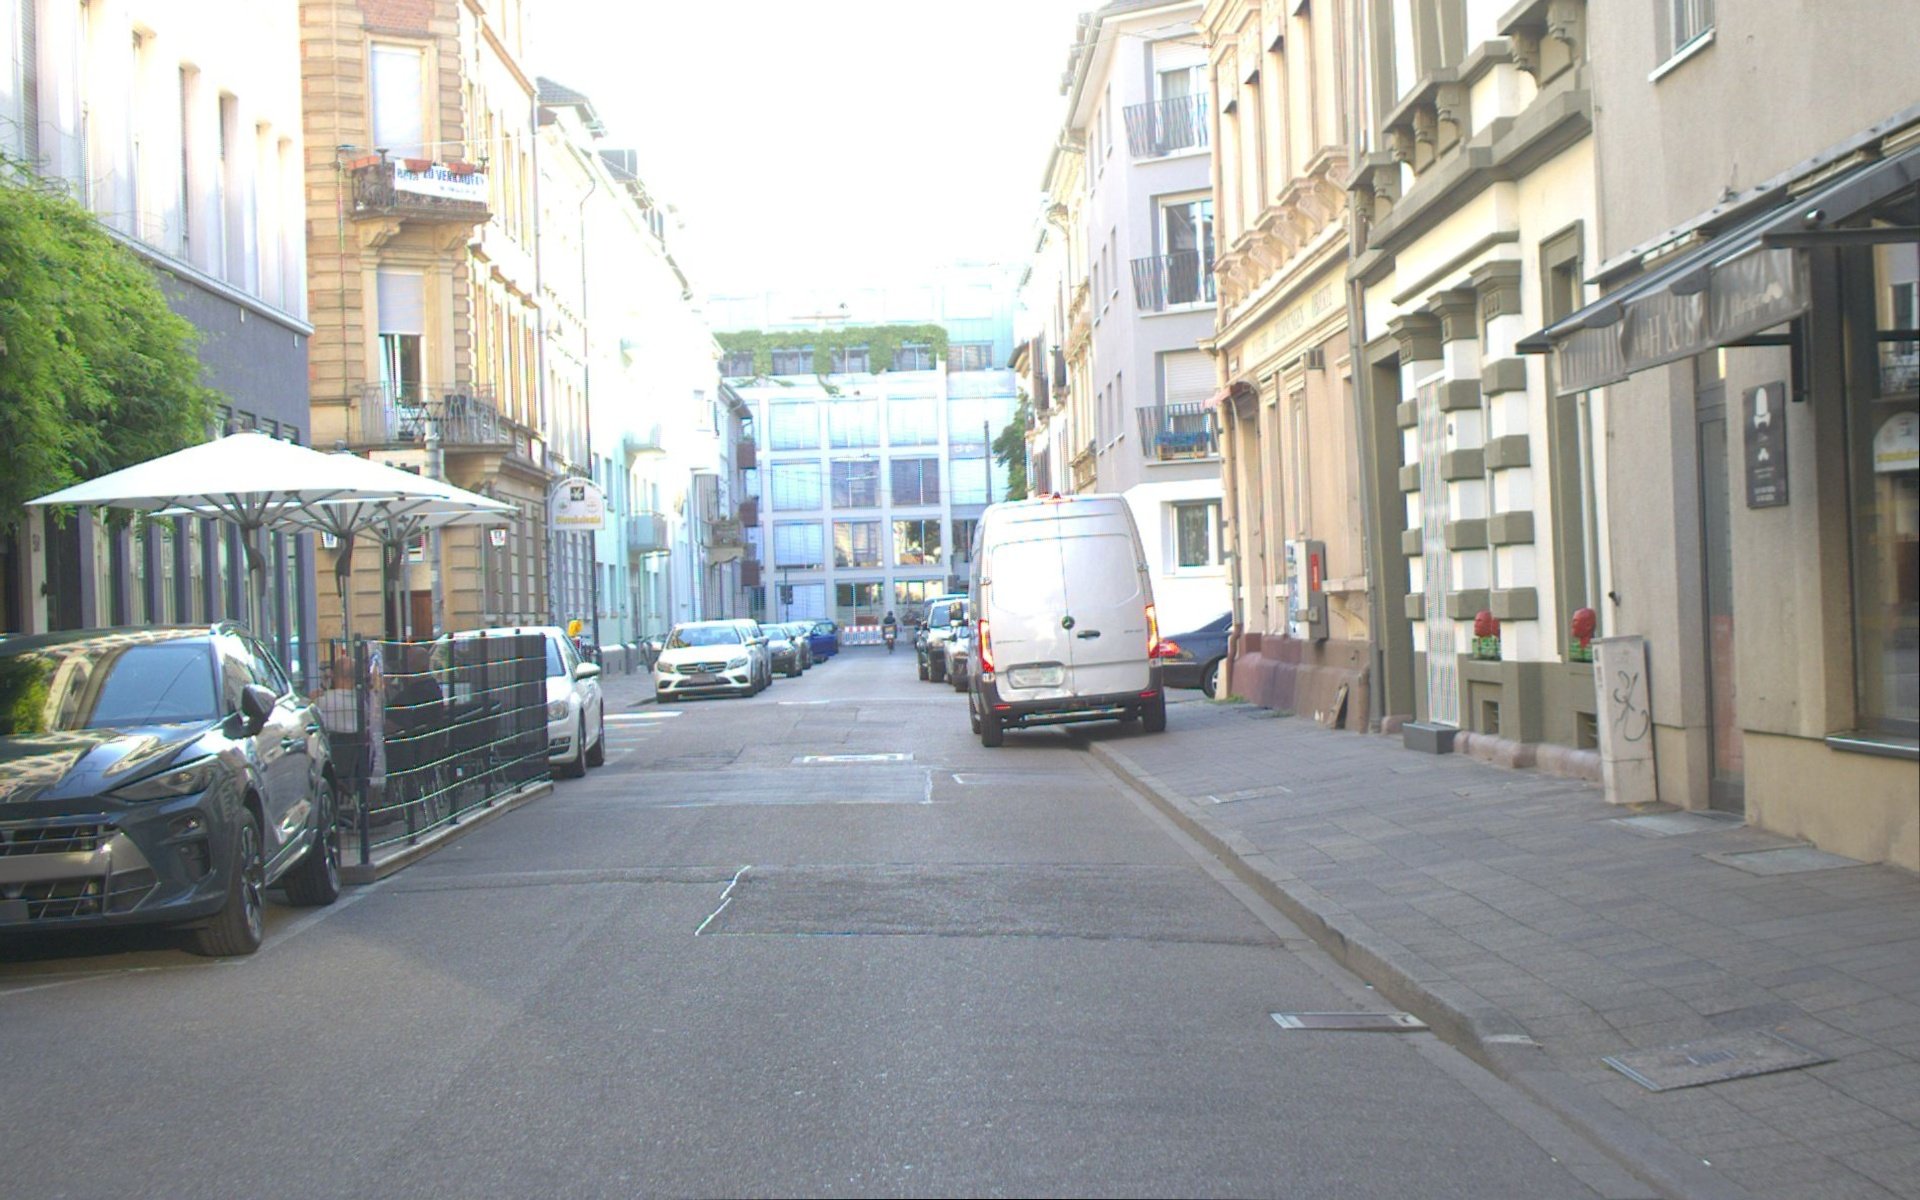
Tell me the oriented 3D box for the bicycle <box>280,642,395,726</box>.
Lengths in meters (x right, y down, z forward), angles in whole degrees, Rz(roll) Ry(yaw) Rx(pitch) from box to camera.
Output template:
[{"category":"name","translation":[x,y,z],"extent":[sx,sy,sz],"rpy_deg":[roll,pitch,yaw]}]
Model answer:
[{"category":"bicycle","translation":[-10.234,1.375,56.533],"extent":[1.757,1.271,0.661],"rpy_deg":[-2,3,-4]}]

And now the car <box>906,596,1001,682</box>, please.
[{"category":"car","translation":[-0.172,0.837,75.621],"extent":[1.893,1.778,4.000],"rpy_deg":[-2,0,-2]}]

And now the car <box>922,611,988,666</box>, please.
[{"category":"car","translation":[-0.193,1.222,111.441],"extent":[1.993,1.694,4.000],"rpy_deg":[-1,0,-2]}]

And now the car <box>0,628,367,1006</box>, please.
[{"category":"car","translation":[-4.297,1.003,17.468],"extent":[1.881,1.563,4.771],"rpy_deg":[-4,0,-3]}]

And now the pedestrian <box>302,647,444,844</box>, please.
[{"category":"pedestrian","translation":[-3.999,0.982,23.480],"extent":[0.781,1.283,0.915],"rpy_deg":[-2,0,-1]}]

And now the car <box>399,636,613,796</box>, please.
[{"category":"car","translation":[-4.388,1.092,33.703],"extent":[1.657,1.409,3.882],"rpy_deg":[-2,-1,-2]}]

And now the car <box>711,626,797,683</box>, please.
[{"category":"car","translation":[-5.249,1.383,88.072],"extent":[1.993,1.350,4.429],"rpy_deg":[-2,0,-1]}]

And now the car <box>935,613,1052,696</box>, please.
[{"category":"car","translation":[0.592,0.991,64.137],"extent":[1.938,1.367,3.789],"rpy_deg":[-4,0,-2]}]

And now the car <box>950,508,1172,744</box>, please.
[{"category":"car","translation":[1.081,0.288,39.597],"extent":[2.277,2.431,6.203],"rpy_deg":[-2,0,0]}]

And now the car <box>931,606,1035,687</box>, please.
[{"category":"car","translation":[0.443,0.934,70.206],"extent":[1.963,1.552,3.889],"rpy_deg":[-2,0,-1]}]

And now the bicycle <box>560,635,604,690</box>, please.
[{"category":"bicycle","translation":[-8.401,1.382,76.517],"extent":[0.737,1.157,2.461],"rpy_deg":[-1,0,-1]}]

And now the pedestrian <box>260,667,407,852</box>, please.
[{"category":"pedestrian","translation":[-4.097,1.038,22.490],"extent":[0.553,1.162,0.740],"rpy_deg":[-2,0,31]}]

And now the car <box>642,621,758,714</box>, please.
[{"category":"car","translation":[-4.880,1.253,65.039],"extent":[1.993,1.559,4.506],"rpy_deg":[-4,0,-3]}]
